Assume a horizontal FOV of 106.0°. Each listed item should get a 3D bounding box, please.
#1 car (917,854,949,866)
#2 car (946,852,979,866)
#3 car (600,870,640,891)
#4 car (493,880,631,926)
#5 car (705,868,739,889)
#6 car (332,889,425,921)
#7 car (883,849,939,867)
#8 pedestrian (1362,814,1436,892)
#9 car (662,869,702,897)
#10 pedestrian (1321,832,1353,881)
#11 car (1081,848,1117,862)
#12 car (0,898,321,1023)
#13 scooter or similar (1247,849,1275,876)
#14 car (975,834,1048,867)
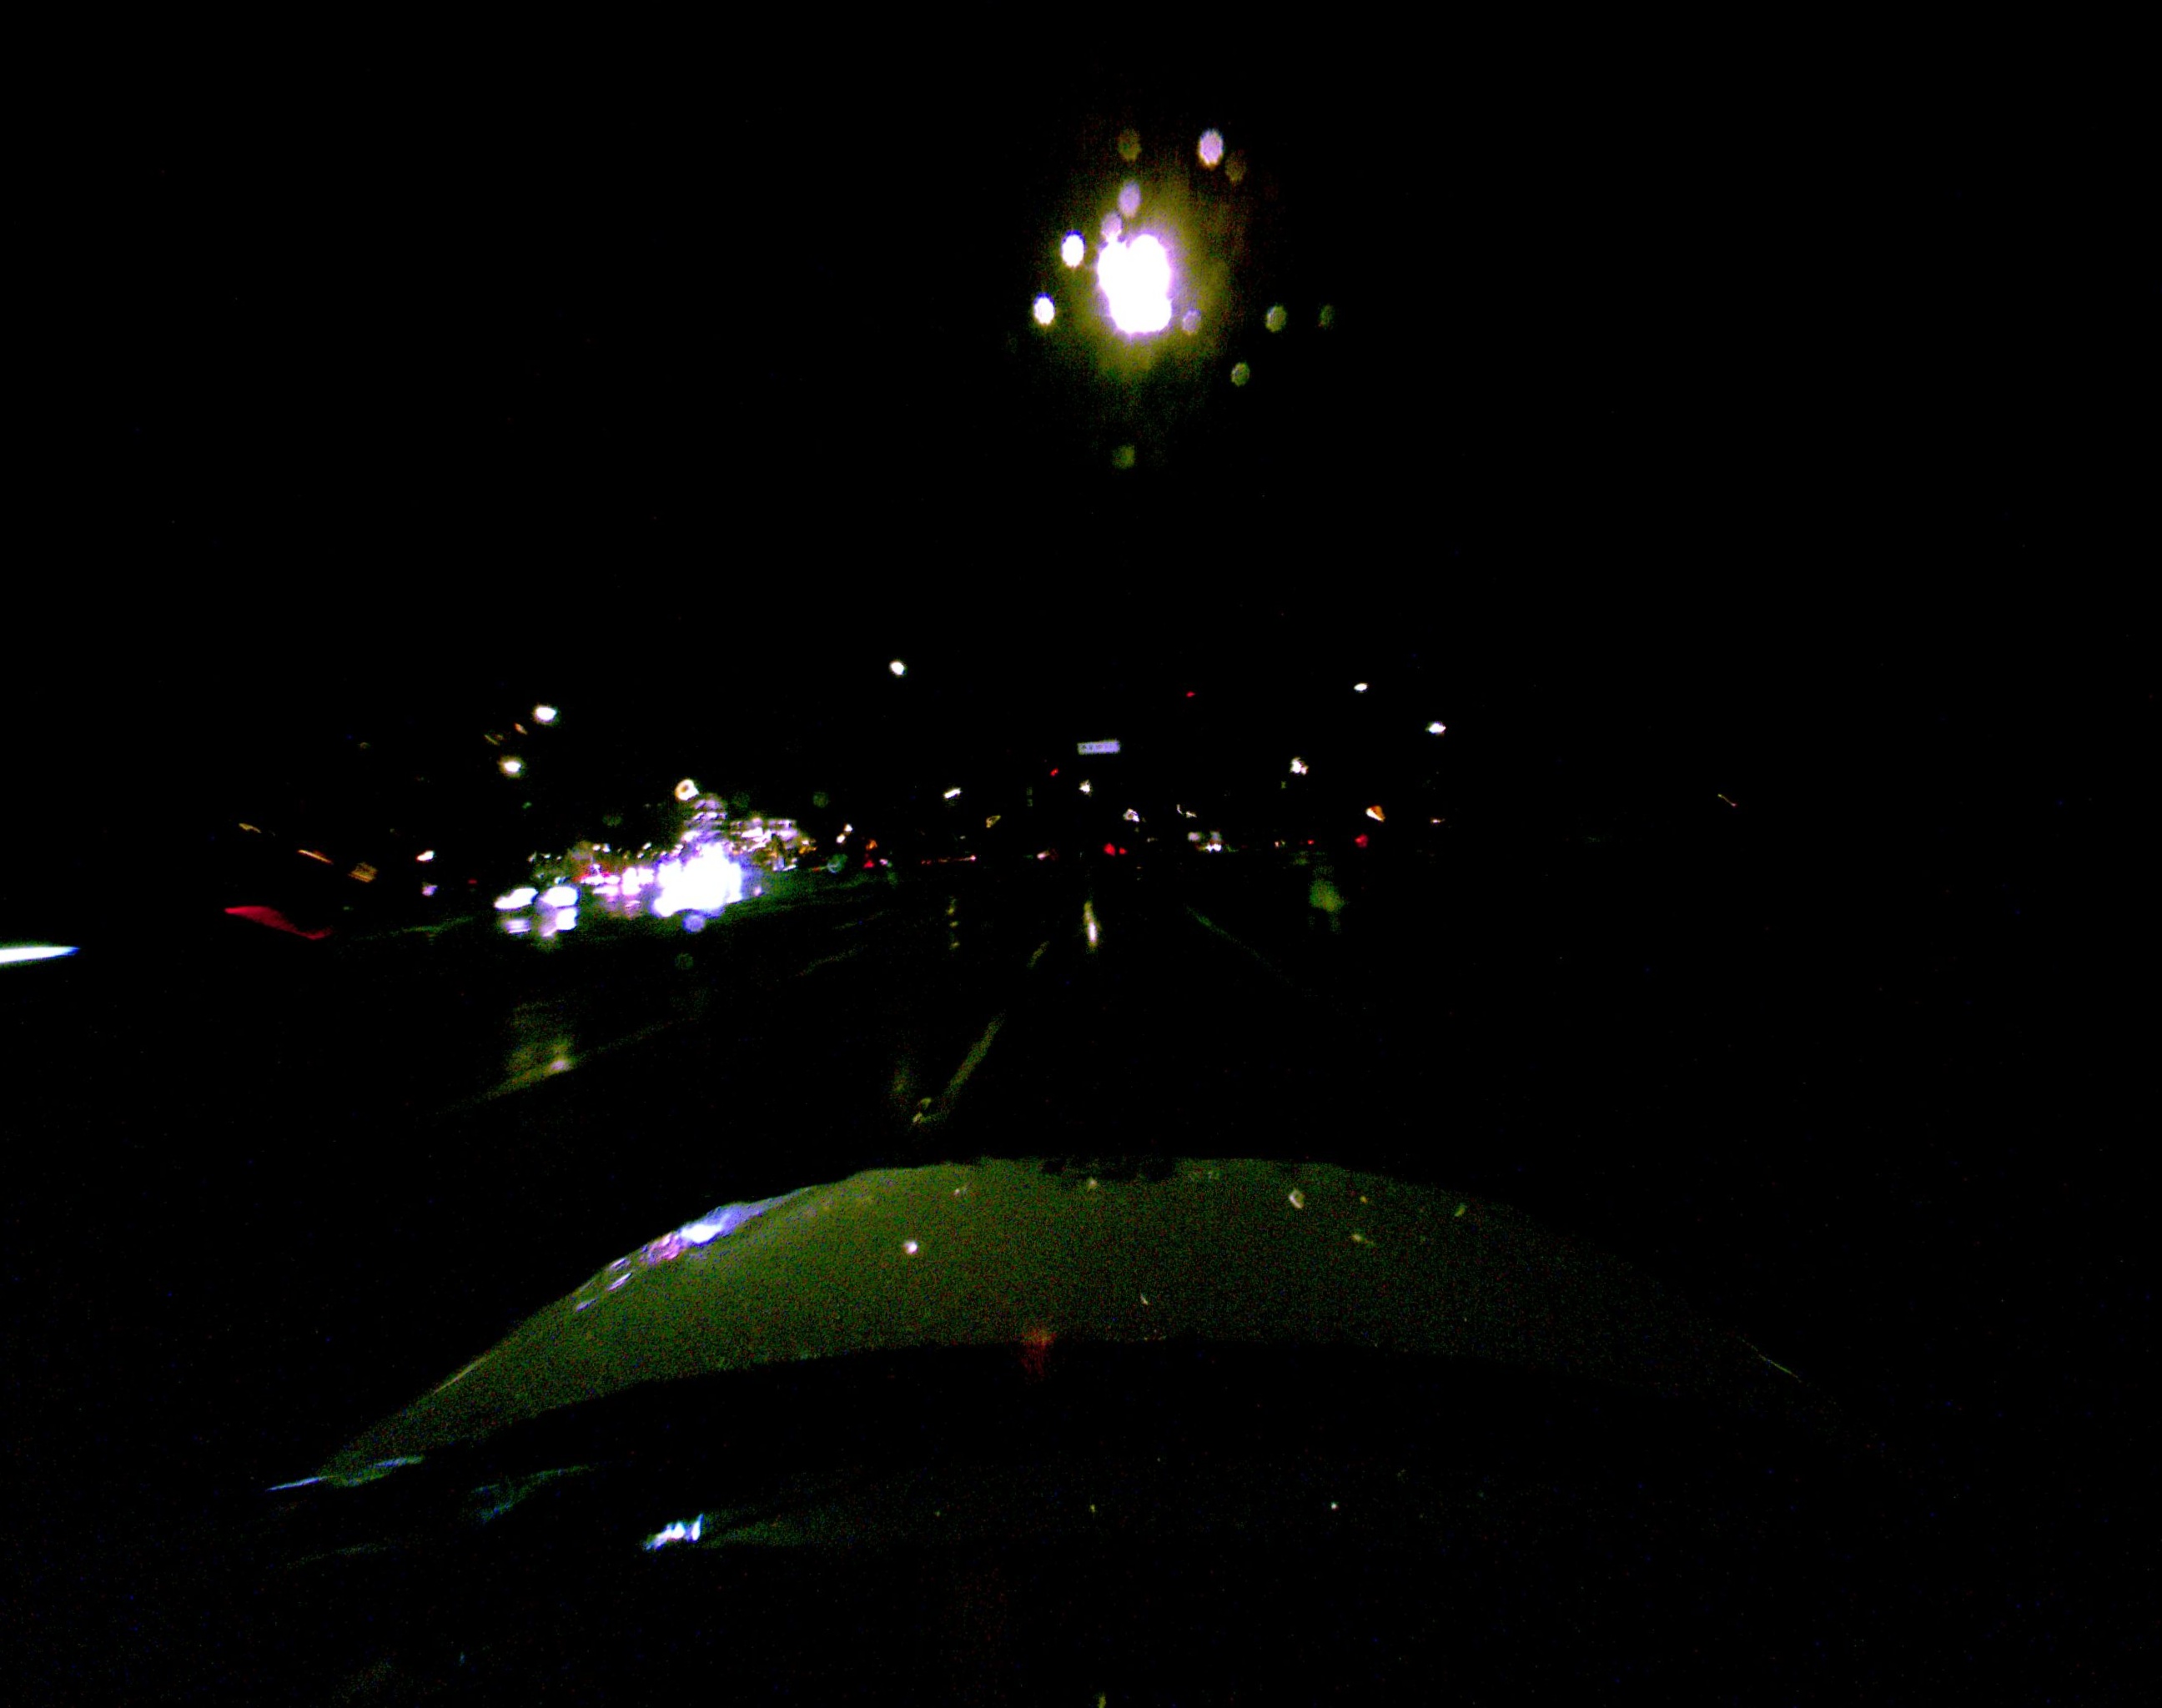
[{"bbox_3d":[-19.203,0.763,105.803,3.983,1.486,1.765,-1,0,-7],"label":"car"},{"bbox_3d":[-14.904,0.593,102.430,3.981,1.616,1.833,-1,0,-6],"label":"car"},{"bbox_3d":[-38.246,2.168,67.630,1.999,1.540,4.391,-1,0,-17],"label":"car"},{"bbox_3d":[-20.179,1.846,31.997,1.987,1.402,5.348,-1,0,0],"label":"car"},{"bbox_3d":[-32.394,2.197,73.650,2.060,1.732,5.104,-1,0,-16],"label":"car"},{"bbox_3d":[-41.547,2.963,48.221,4.023,1.574,1.738,-2,0,-45],"label":"car"},{"bbox_3d":[-20.998,0.451,100.597,6.321,2.089,2.496,-1,0,-23],"label":"car"},{"bbox_3d":[7.767,-0.029,19.962,1.223,1.794,1.490,-1,0,1],"label":"pedestrian"},{"bbox_3d":[-27.870,1.988,57.028,2.072,1.715,5.003,-1,0,-22],"label":"car"},{"bbox_3d":[8.022,0.084,25.564,0.723,1.485,0.836,-1,0,1],"label":"pedestrian"},{"bbox_3d":[2.262,0.104,100.024,3.949,1.616,1.848,-1,0,27],"label":"car"},{"bbox_3d":[-15.847,1.630,13.643,1.823,1.464,4.659,-1,0,0],"label":"car"},{"bbox_3d":[7.816,0.372,35.356,1.090,1.097,0.320,-3,-1,29],"label":"scooter or similar"},{"bbox_3d":[-4.445,-0.235,52.566,4.531,2.013,1.999,-1,0,-2],"label":"car"}]
